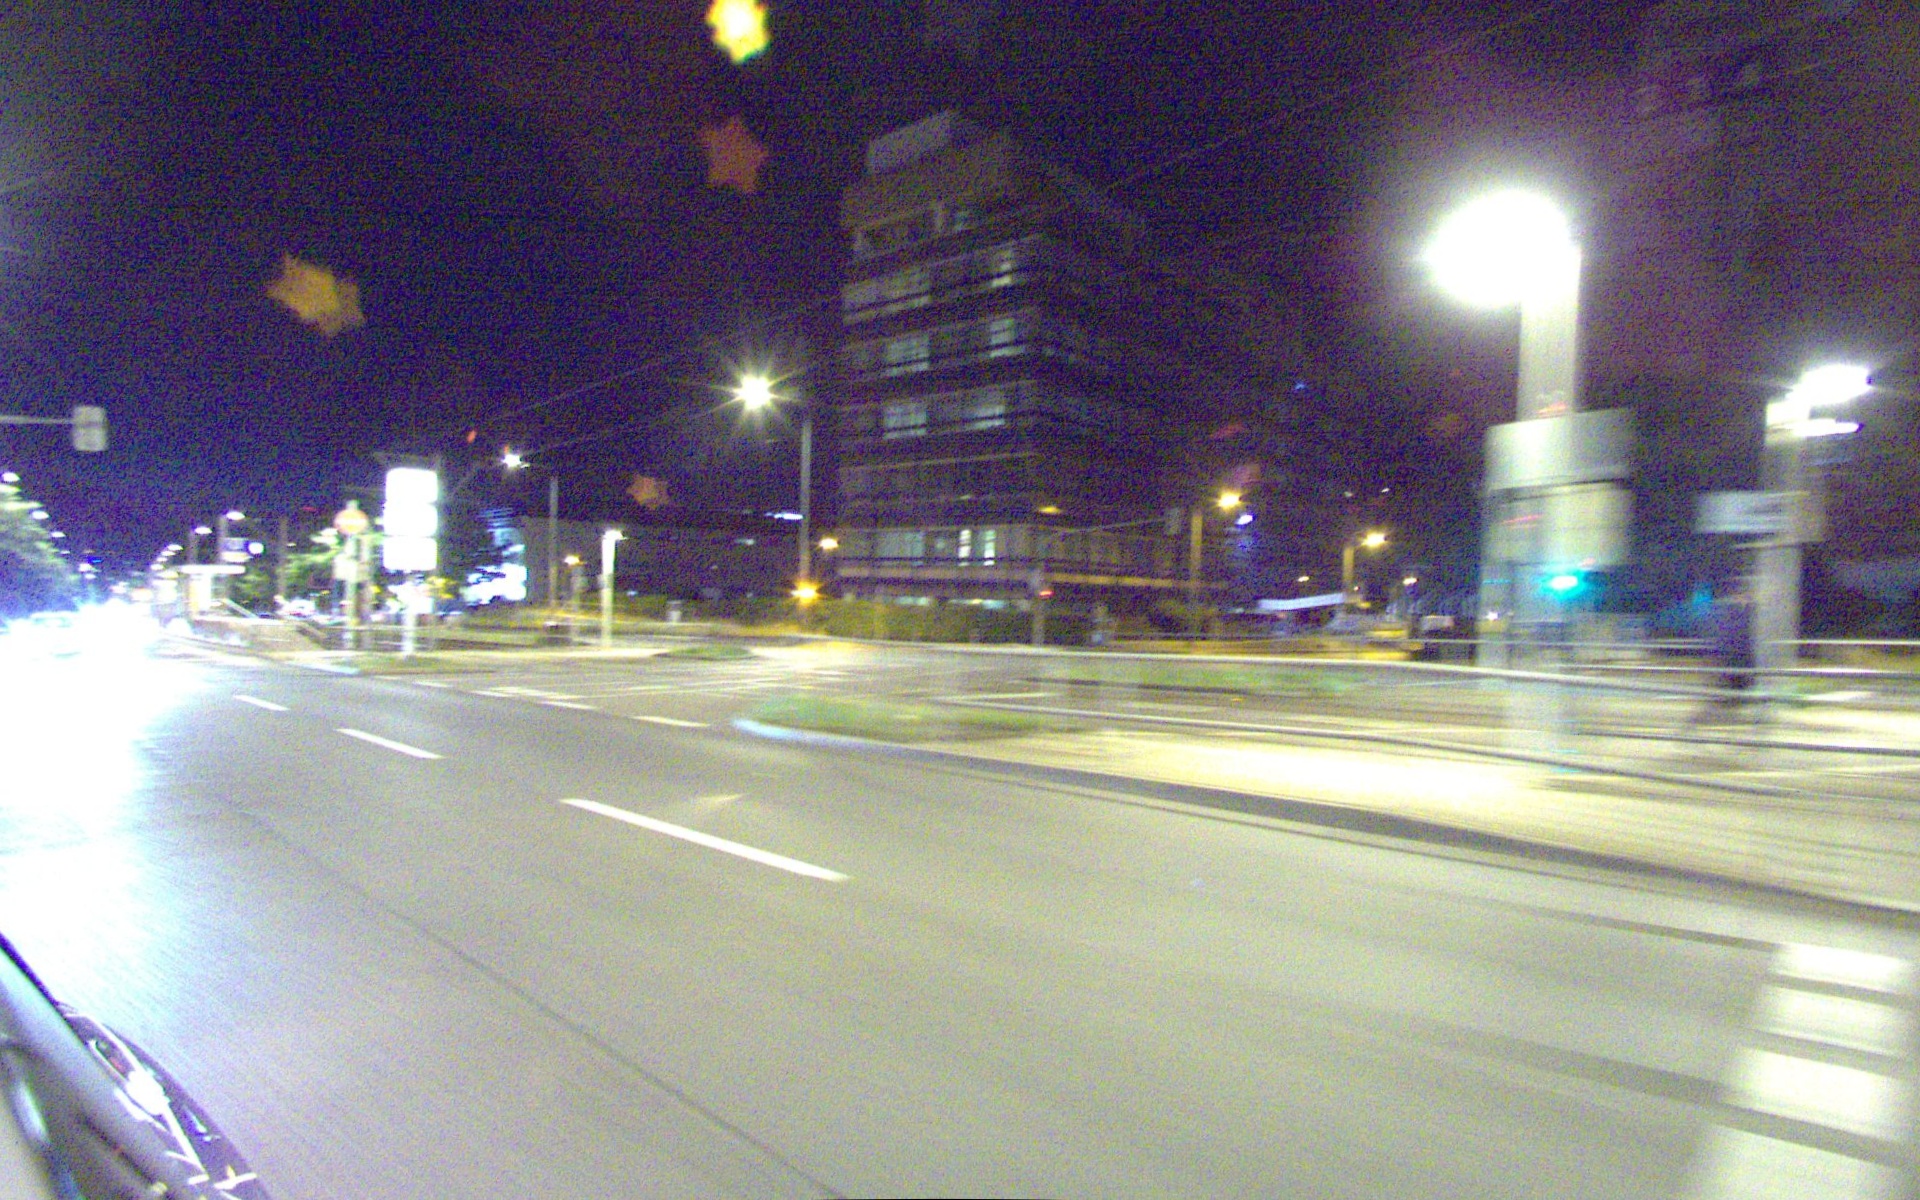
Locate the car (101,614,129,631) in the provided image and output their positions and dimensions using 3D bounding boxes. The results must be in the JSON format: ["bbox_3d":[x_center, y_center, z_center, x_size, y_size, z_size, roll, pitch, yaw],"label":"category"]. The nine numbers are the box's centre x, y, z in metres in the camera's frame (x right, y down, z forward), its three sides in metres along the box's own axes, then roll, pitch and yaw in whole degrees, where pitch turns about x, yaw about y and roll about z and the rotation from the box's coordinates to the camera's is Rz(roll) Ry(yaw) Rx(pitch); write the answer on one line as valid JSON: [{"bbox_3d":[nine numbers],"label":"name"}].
[{"bbox_3d":[-84.671,2.207,101.417,1.881,1.630,3.721,0,0,-45],"label":"car"}]

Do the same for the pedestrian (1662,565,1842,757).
[{"bbox_3d":[7.366,0.559,9.452,1.039,1.701,0.822,1,-2,-10],"label":"pedestrian"}]

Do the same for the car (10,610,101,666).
[{"bbox_3d":[-26.136,1.058,29.346,1.831,1.502,3.565,0,-1,-39],"label":"car"}]
